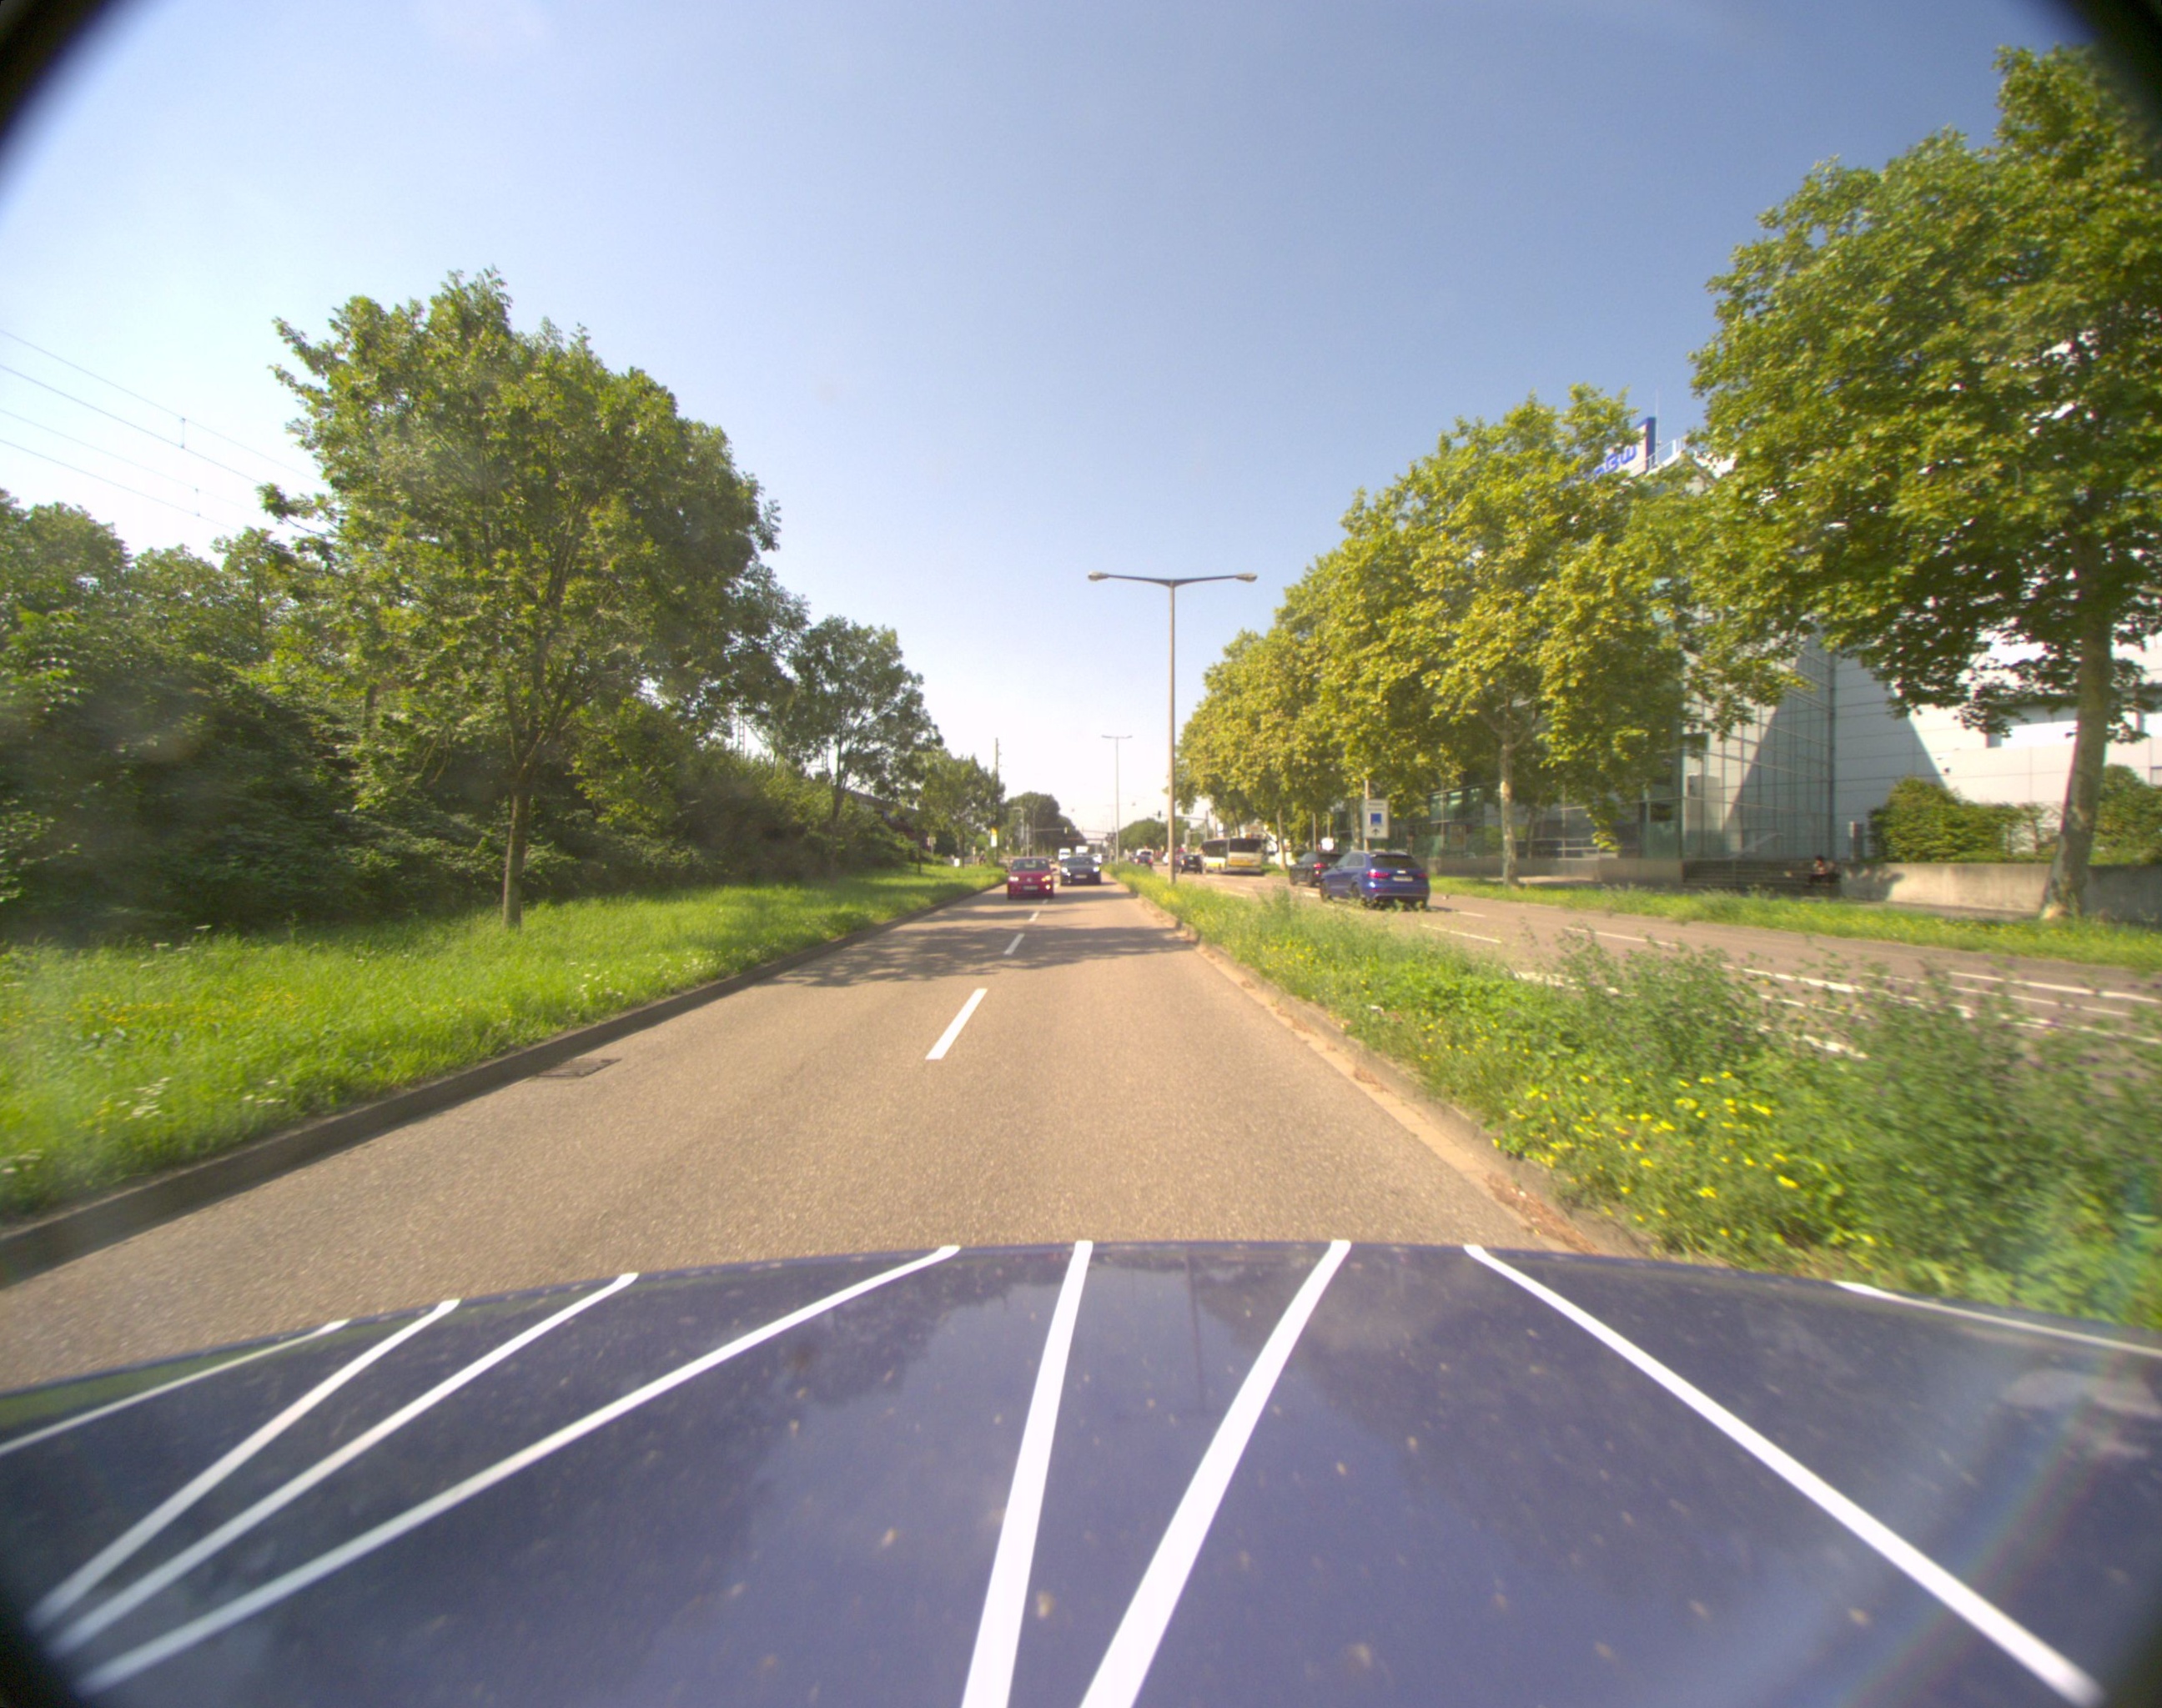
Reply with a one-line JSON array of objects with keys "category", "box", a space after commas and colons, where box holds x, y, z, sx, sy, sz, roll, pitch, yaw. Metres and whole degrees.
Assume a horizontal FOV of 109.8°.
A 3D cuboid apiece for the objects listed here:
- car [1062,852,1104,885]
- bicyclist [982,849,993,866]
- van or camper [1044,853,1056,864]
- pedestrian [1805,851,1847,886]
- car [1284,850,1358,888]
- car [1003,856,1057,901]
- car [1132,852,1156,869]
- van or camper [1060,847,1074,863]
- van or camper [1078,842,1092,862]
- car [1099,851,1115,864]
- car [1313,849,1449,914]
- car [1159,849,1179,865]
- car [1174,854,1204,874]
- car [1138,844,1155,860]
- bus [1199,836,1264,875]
[{"category": "car", "box": [0.039, 0.719, 37.160, 1.643, 1.458, 3.553, -3, -1, -6]}, {"category": "bicyclist", "box": [-9.519, 0.371, 77.500, 0.971, 1.648, 0.711, 0, 0, -26]}, {"category": "van or camper", "box": [-5.292, 0.819, 130.495, 1.850, 1.765, 4.176, -2, -2, 1]}, {"category": "pedestrian", "box": [23.952, 0.471, 24.432, 0.737, 1.103, 0.562, -2, -2, -5]}, {"category": "car", "box": [11.044, 0.637, 35.259, 1.850, 1.596, 4.610, 3, 0, -1]}, {"category": "car", "box": [-1.887, 0.829, 27.374, 1.644, 1.458, 3.551, -2, 0, -8]}, {"category": "car", "box": [5.783, 0.552, 70.389, 1.850, 1.481, 4.643, 1, 0, 0]}, {"category": "van or camper", "box": [-2.445, 0.147, 133.831, 2.248, 2.467, 6.868, -2, -2, 0]}, {"category": "van or camper", "box": [0.753, -0.296, 138.023, 2.247, 3.341, 6.854, -2, -2, 2]}, {"category": "car", "box": [3.088, 0.431, 90.877, 1.618, 1.526, 4.101, 2, -1, -1]}, {"category": "car", "box": [8.224, 0.702, 21.325, 1.999, 1.575, 4.346, 2, 0, -1]}, {"category": "car", "box": [11.484, 0.365, 99.267, 1.932, 1.885, 3.975, 1, 1, -1]}, {"category": "car", "box": [8.253, 0.741, 58.346, 1.709, 1.481, 4.312, -2, 0, 0]}, {"category": "car", "box": [8.375, -0.322, 97.612, 1.932, 1.949, 5.189, 1, 1, 2]}, {"category": "bus", "box": [11.372, 0.054, 58.607, 2.669, 2.678, 10.904, 1, 0, 0]}]
